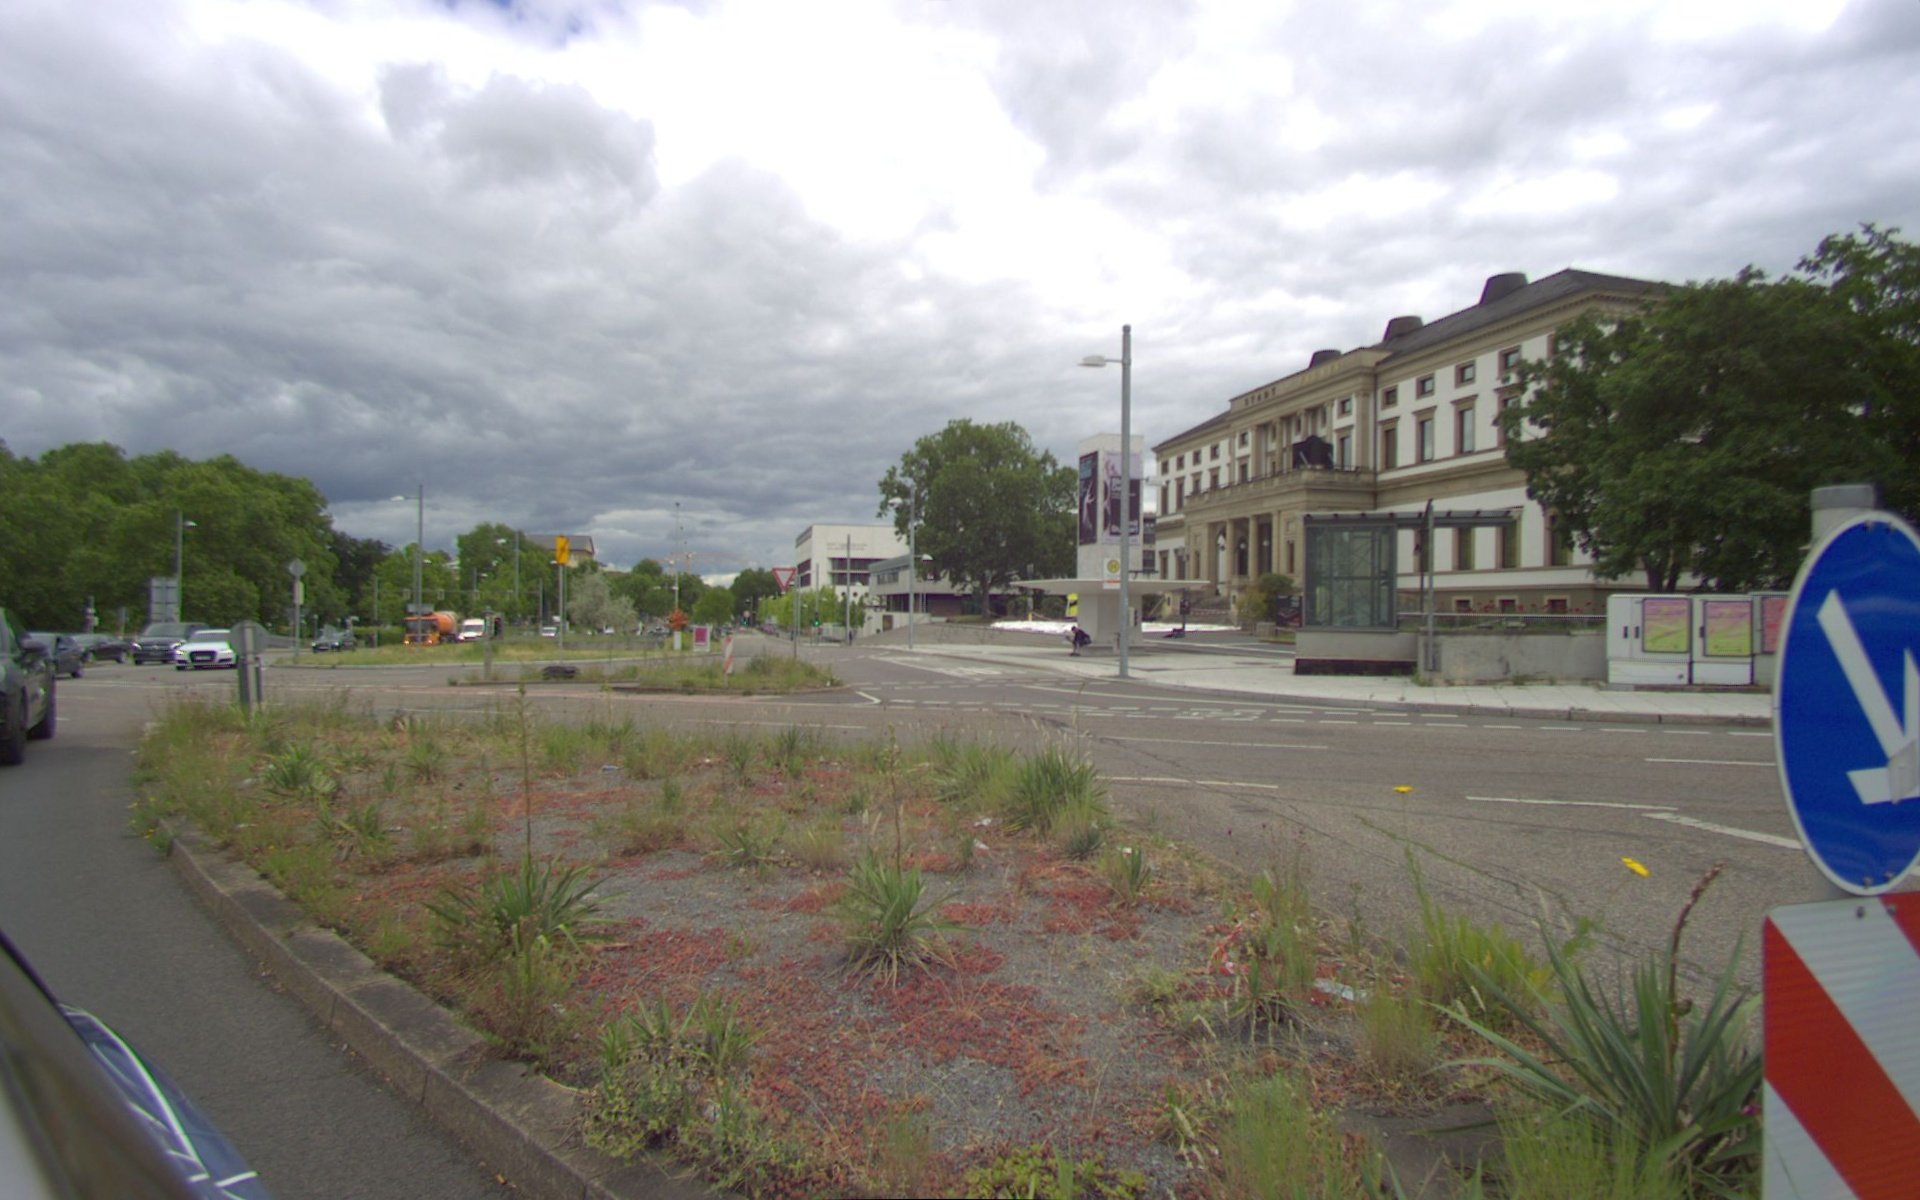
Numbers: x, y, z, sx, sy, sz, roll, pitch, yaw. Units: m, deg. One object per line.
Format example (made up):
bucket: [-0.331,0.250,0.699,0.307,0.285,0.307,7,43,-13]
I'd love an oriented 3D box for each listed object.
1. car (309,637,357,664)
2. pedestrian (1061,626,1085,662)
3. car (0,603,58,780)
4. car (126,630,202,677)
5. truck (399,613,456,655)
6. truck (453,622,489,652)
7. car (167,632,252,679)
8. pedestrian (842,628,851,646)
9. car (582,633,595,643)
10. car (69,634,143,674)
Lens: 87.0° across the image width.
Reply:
car: [-43.103,3.433,69.684,1.829,1.752,3.750,-1,-1,-16]
pedestrian: [4.290,1.662,38.388,0.695,1.363,0.762,-1,-1,-8]
car: [-11.219,0.934,10.878,1.974,1.650,5.030,-1,-1,-38]
car: [-35.797,2.363,45.609,1.828,2.003,4.656,1,-2,-28]
truck: [-49.243,3.134,93.847,2.682,3.644,9.203,-1,-1,-15]
truck: [-46.485,3.495,96.363,1.924,2.805,5.804,-1,-1,-14]
car: [-28.157,2.020,38.119,2.061,1.621,4.425,1,-2,-30]
pedestrian: [-11.189,3.626,99.870,0.672,1.762,0.894,0,-2,-19]
car: [-73.107,7.538,199.131,1.755,1.859,3.807,-1,-1,-11]
car: [-39.473,2.458,46.860,1.966,1.690,4.012,0,-1,-30]
